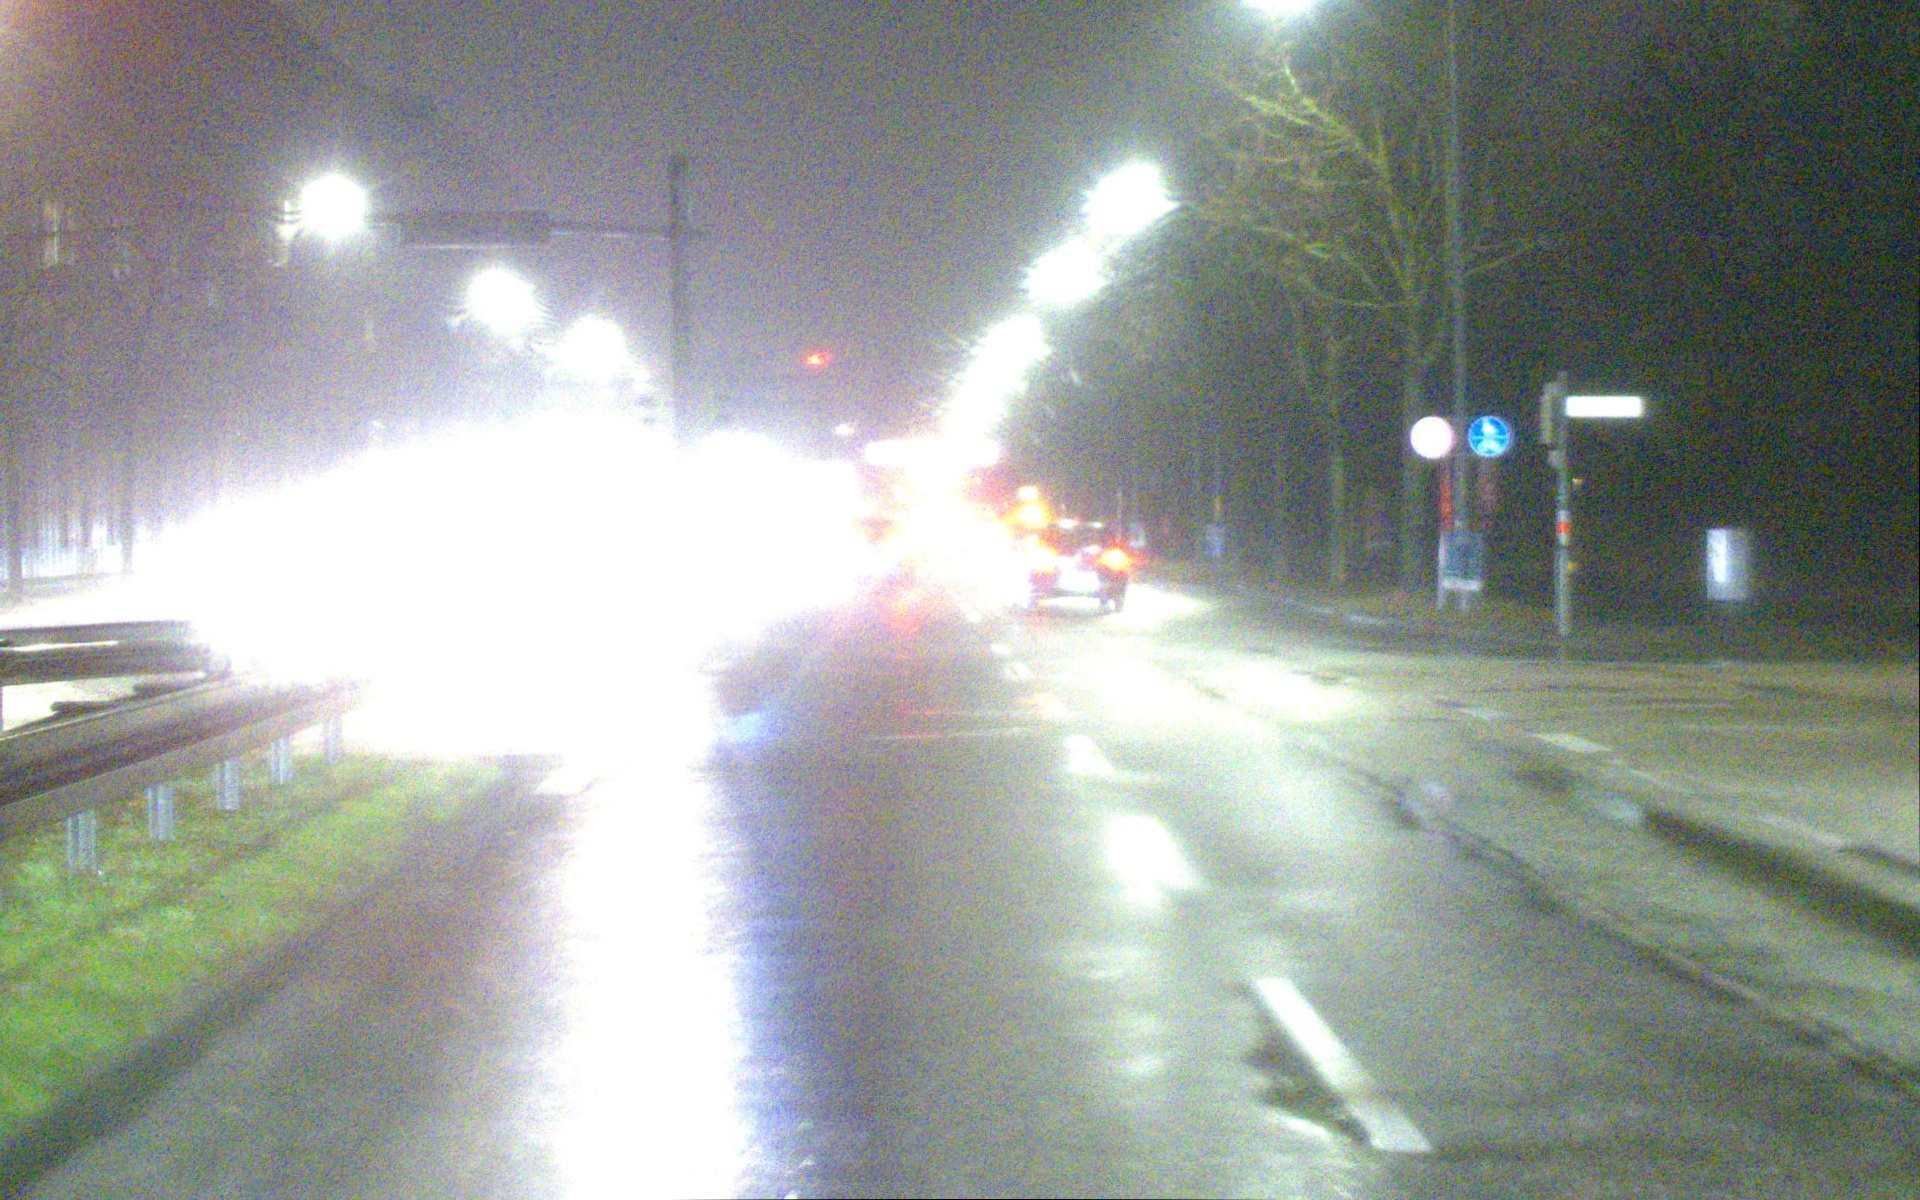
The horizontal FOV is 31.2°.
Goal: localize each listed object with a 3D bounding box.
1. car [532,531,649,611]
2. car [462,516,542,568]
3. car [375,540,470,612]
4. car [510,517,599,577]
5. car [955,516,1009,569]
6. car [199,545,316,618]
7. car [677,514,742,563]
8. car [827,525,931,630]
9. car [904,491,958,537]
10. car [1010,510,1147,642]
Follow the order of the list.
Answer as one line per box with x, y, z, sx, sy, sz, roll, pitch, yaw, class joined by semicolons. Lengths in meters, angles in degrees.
-7.674;-0.605;71.755;1.993;1.604;4.970;0;0;-1;car
-13.975;-1.746;105.076;1.885;1.547;4.433;0;0;-1;car
-13.427;-0.616;86.065;1.749;1.703;4.499;-2;1;-2;car
-10.768;-1.382;91.470;1.885;1.547;4.433;0;0;-1;car
0.900;-2.250;135.236;2.038;2.007;4.307;0;0;1;car
-15.527;-0.416;76.154;1.800;1.559;4.000;0;0;-1;car
-8.201;-2.002;112.854;1.885;1.547;4.433;0;0;-1;car
-1.583;-0.451;68.067;1.993;2.007;4.000;0;0;-1;car
-1.447;-4.278;170.811;2.441;2.186;5.079;0;0;-3;car
2.005;-0.416;59.223;2.208;2.207;3.643;0;0;0;car
